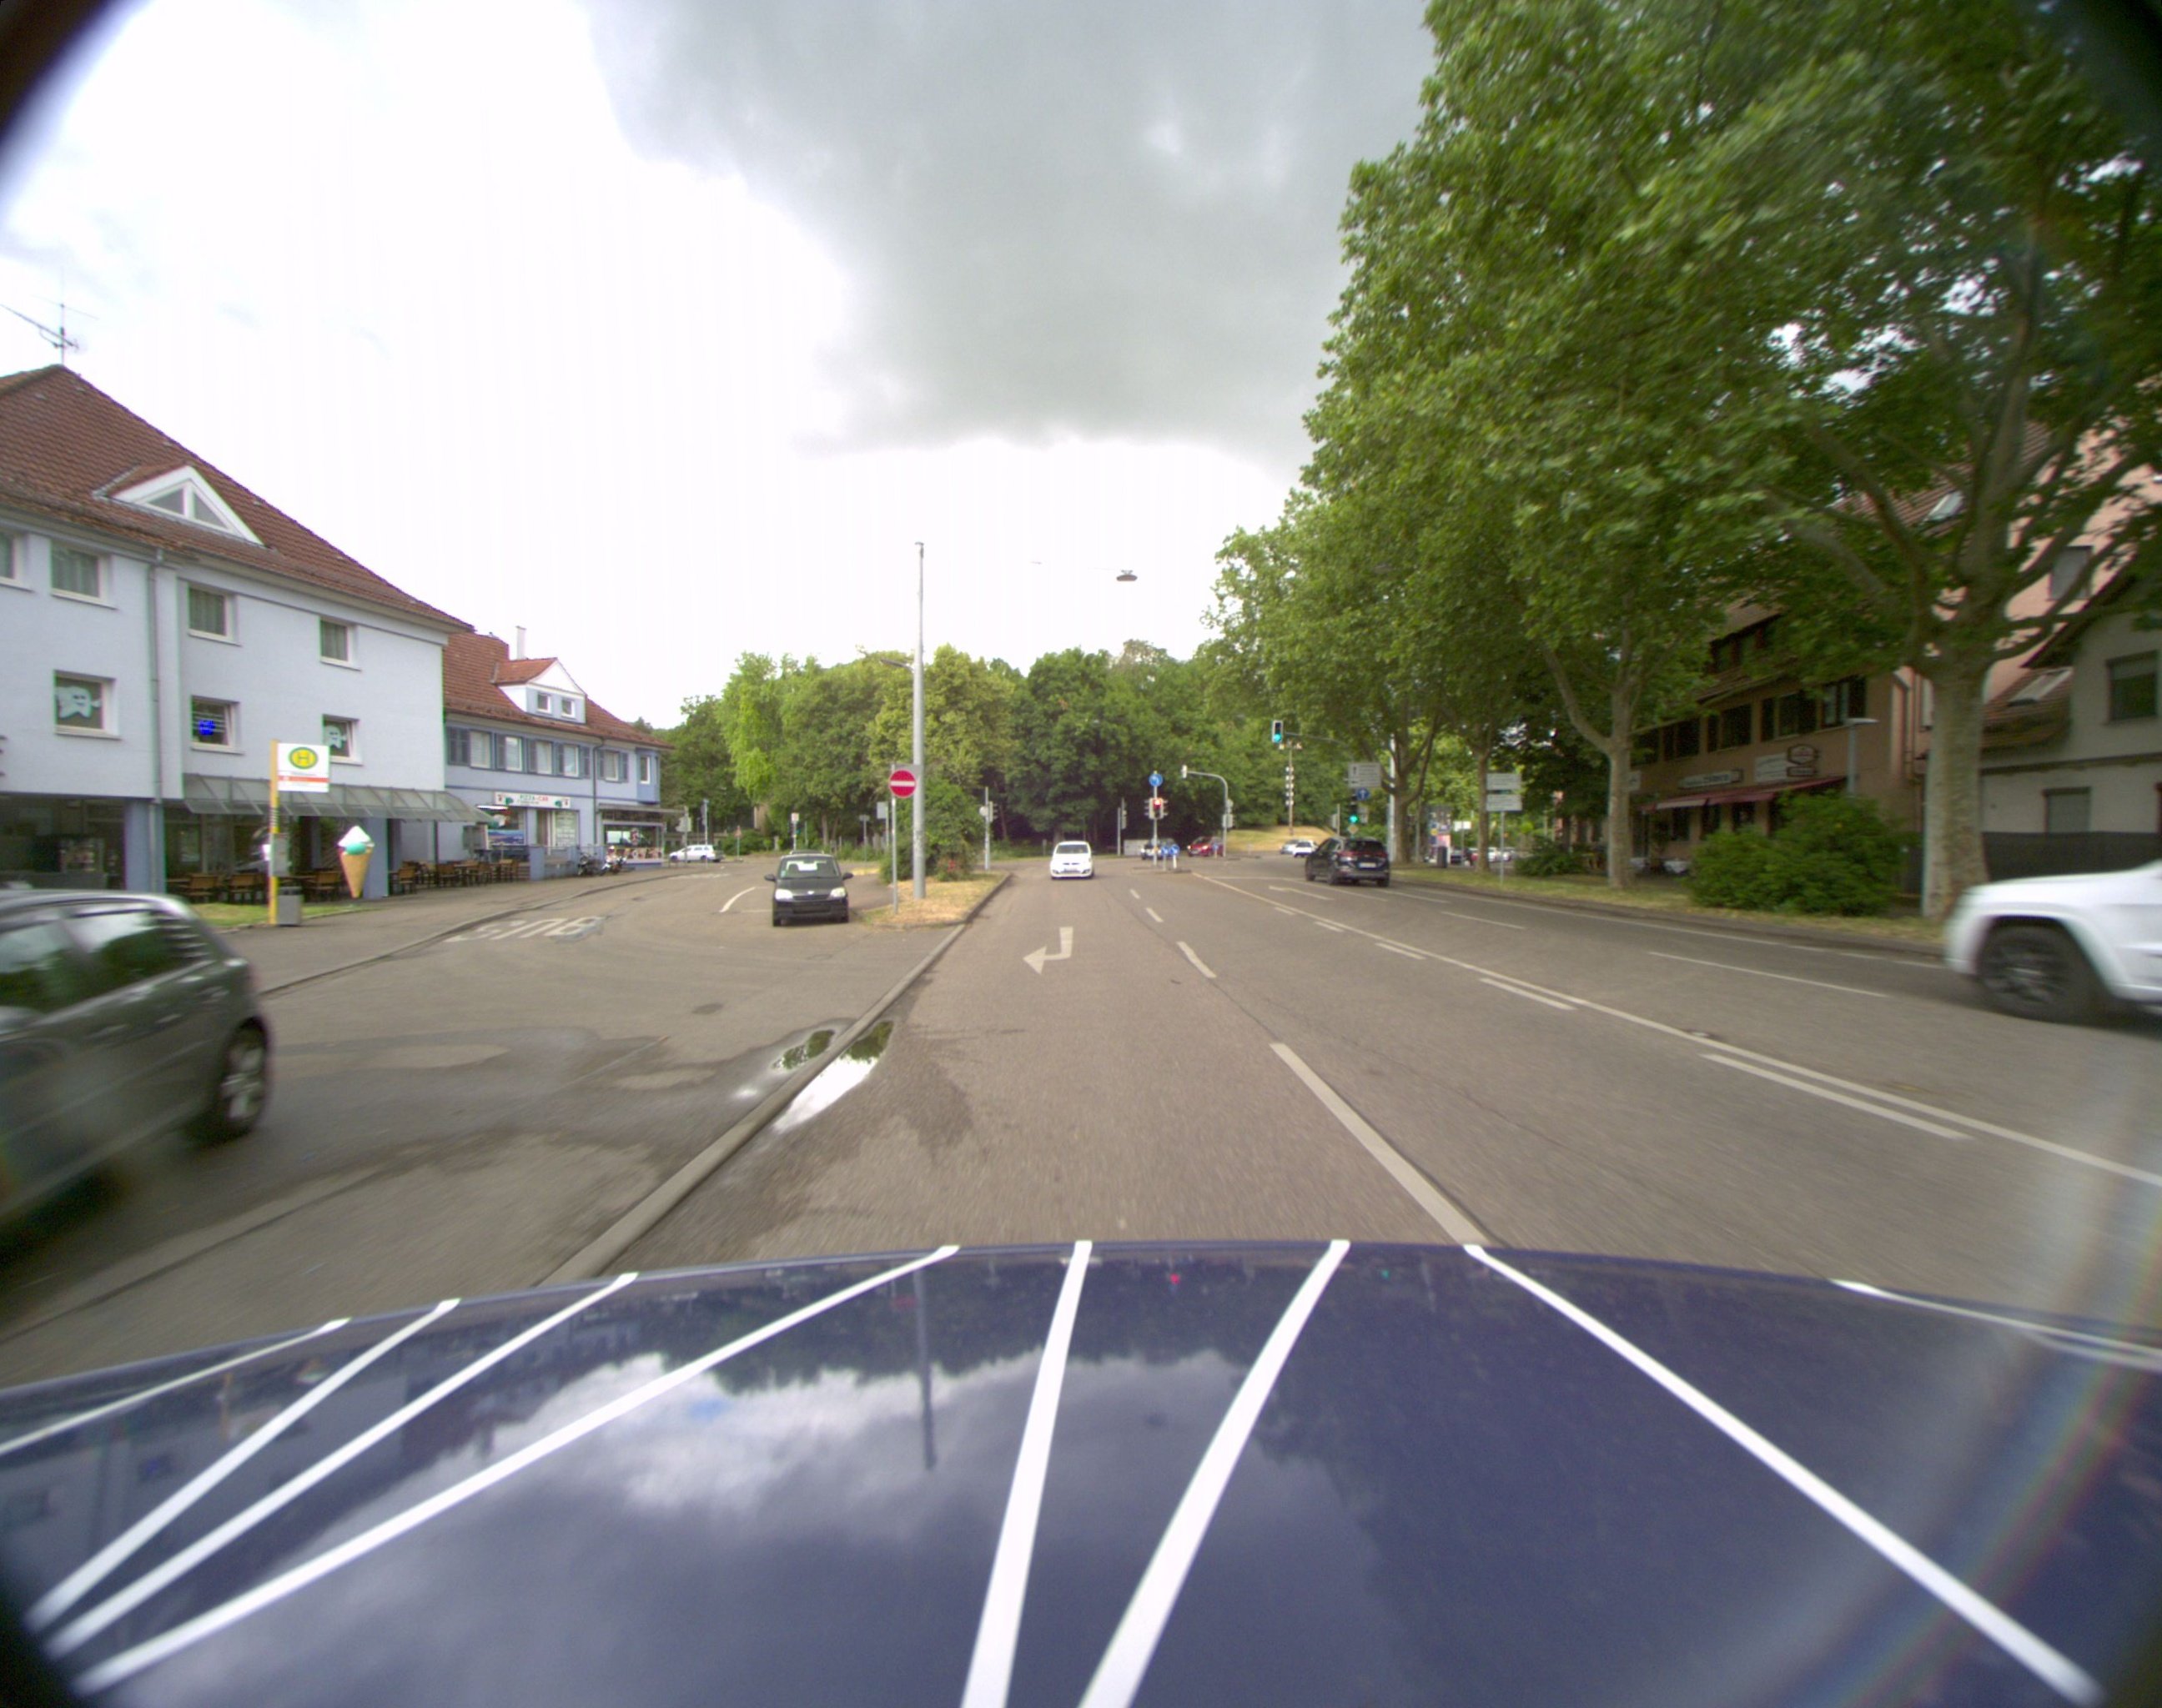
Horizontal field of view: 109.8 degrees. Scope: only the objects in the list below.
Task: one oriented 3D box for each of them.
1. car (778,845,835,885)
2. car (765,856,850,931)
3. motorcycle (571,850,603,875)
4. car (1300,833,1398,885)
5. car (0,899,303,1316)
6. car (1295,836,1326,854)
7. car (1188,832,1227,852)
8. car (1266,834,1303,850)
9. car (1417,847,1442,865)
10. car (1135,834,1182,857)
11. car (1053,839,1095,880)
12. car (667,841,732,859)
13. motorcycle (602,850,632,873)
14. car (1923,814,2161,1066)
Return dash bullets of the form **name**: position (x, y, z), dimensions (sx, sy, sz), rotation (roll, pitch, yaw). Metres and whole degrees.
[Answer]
- **car**: position (-11.013, 0.362, 30.747), dimensions (2.002, 1.379, 4.779), rotation (0, 2, -18)
- **car**: position (-5.984, 0.771, 16.662), dimensions (1.575, 1.396, 3.488), rotation (-1, 1, -20)
- **motorcycle**: position (-21.877, 0.369, 33.676), dimensions (0.490, 1.025, 1.723), rotation (0, 2, -10)
- **car**: position (9.032, 0.114, 26.010), dimensions (1.801, 1.578, 4.414), rotation (2, 1, 1)
- **car**: position (-4.858, 0.992, 2.624), dimensions (1.736, 1.420, 4.104), rotation (-1, 0, -26)
- **car**: position (20.102, -0.794, 66.546), dimensions (1.763, 1.458, 4.029), rotation (2, 2, 29)
- **car**: position (10.562, -1.011, 63.302), dimensions (1.671, 1.632, 4.108), rotation (2, 2, 34)
- **car**: position (20.616, -1.210, 76.878), dimensions (4.008, 1.560, 1.779), rotation (-2, 3, -45)
- **car**: position (26.545, 0.141, 57.793), dimensions (1.479, 1.303, 3.406), rotation (3, 2, 28)
- **car**: position (5.551, -0.640, 53.997), dimensions (1.727, 1.512, 4.007), rotation (1, 2, 31)
- **car**: position (-0.285, 0.181, 30.972), dimensions (1.628, 1.500, 3.998), rotation (0, 2, -1)
- **car**: position (-31.168, -0.322, 62.116), dimensions (4.538, 1.448, 1.902), rotation (0, 2, 12)
- **motorcycle**: position (-22.078, 0.345, 36.180), dimensions (0.522, 0.980, 1.821), rotation (-1, 2, -9)
- **car**: position (8.502, 0.629, 4.403), dimensions (1.916, 1.753, 4.751), rotation (1, 0, 0)
